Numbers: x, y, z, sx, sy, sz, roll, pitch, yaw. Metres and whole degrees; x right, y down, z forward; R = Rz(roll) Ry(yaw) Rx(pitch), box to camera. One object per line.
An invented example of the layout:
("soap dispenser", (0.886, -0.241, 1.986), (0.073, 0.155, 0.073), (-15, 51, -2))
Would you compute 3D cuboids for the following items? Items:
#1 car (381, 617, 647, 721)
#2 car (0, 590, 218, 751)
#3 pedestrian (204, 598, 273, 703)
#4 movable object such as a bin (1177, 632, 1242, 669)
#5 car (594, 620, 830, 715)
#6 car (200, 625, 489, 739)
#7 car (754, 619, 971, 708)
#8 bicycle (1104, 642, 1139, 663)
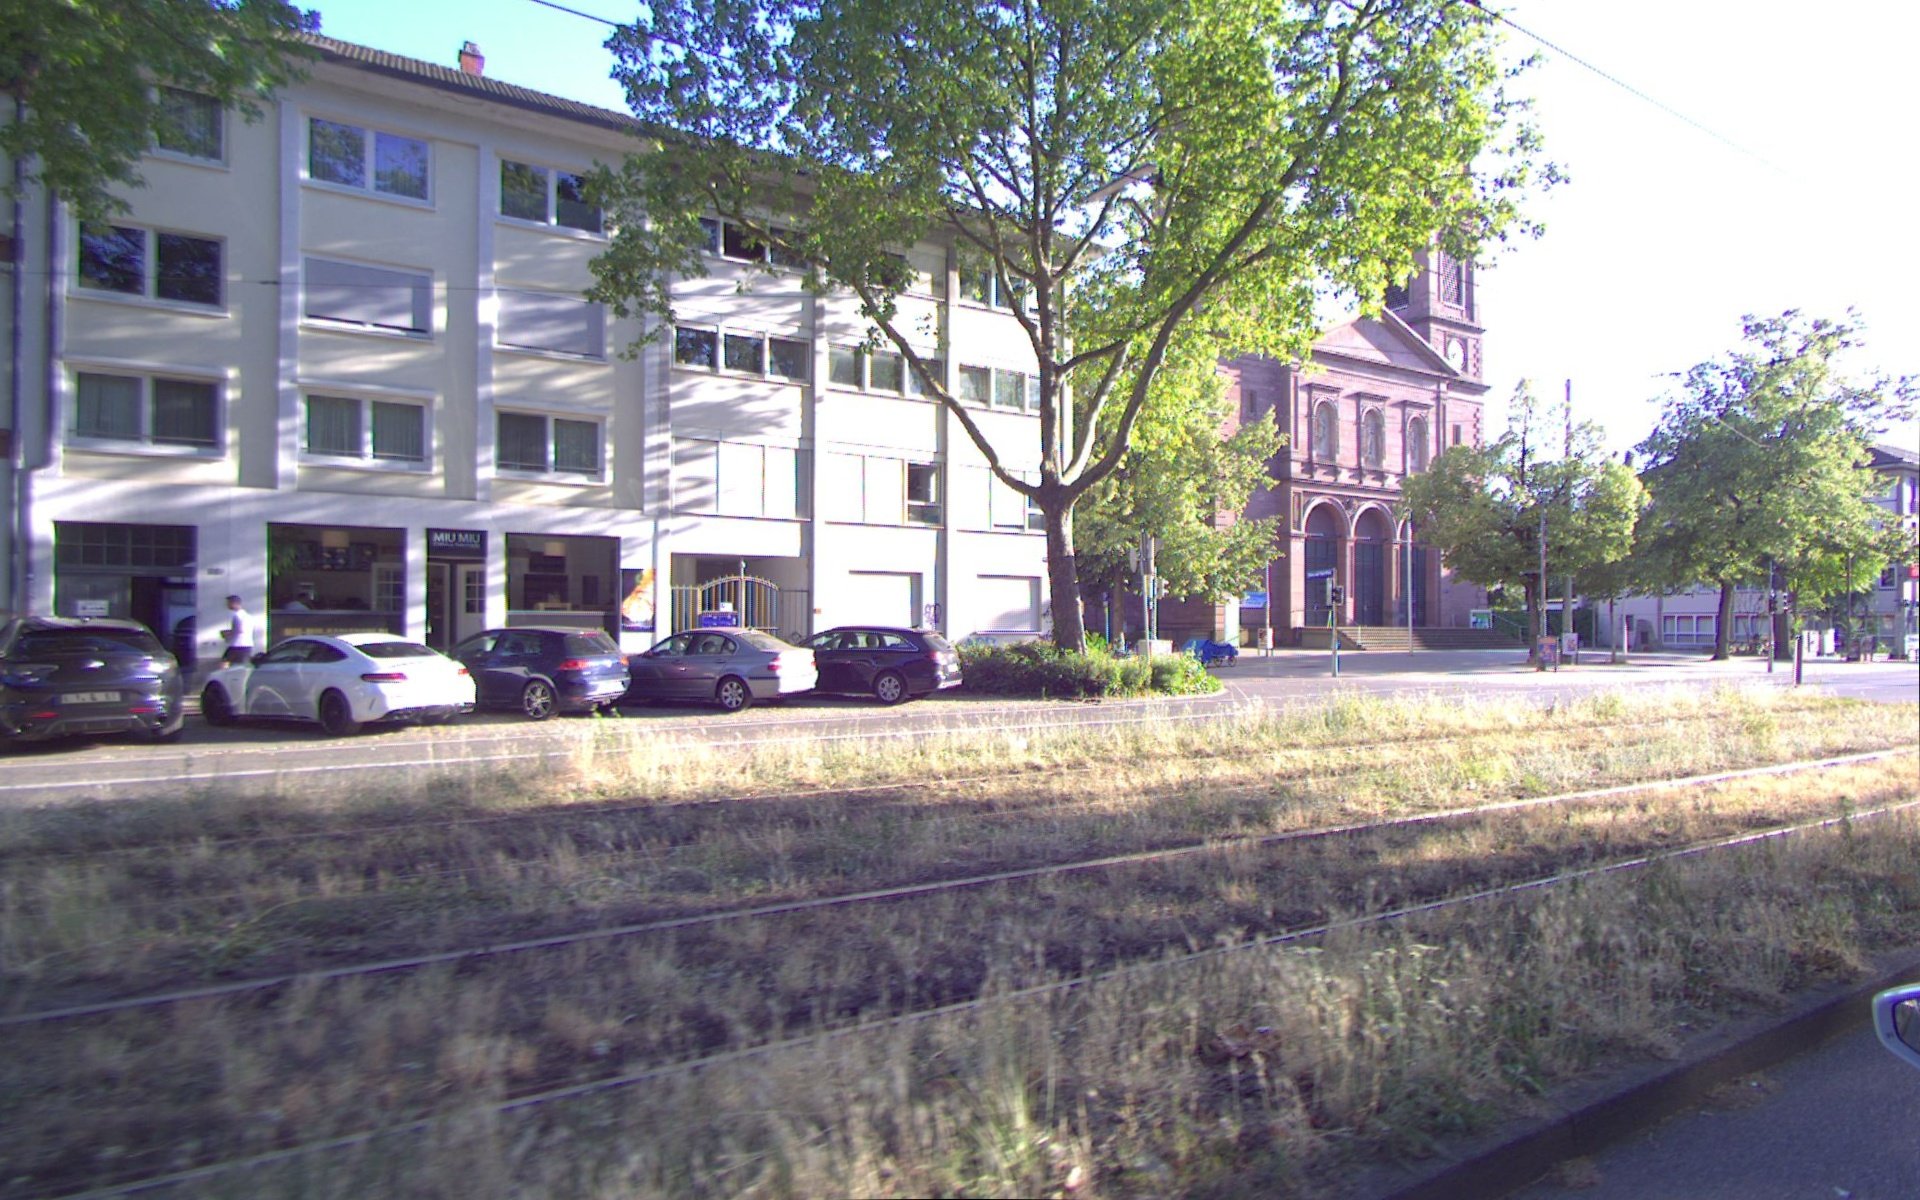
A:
("car", (-7.576, 1.105, 17.134), (3.920, 1.460, 1.802), (2, 1, 18))
("car", (-11.926, 0.916, 13.383), (4.292, 1.809, 1.988), (-3, -4, 35))
("pedestrian", (-13.644, 0.926, 18.988), (0.944, 1.925, 0.891), (1, -1, -43))
("movable object such as a bin", (9.943, 1.994, 39.971), (2.416, 1.228, 1.102), (-3, 3, -29))
("car", (-4.570, 1.183, 18.587), (3.921, 1.460, 1.722), (2, 1, 20))
("car", (-9.320, 1.140, 15.195), (4.125, 1.351, 1.721), (2, 1, 25))
("car", (-1.940, 1.203, 20.193), (3.920, 1.499, 1.818), (2, 1, 18))
("bicycle", (7.099, 2.312, 44.268), (1.517, 0.904, 0.465), (1, 1, -26))
